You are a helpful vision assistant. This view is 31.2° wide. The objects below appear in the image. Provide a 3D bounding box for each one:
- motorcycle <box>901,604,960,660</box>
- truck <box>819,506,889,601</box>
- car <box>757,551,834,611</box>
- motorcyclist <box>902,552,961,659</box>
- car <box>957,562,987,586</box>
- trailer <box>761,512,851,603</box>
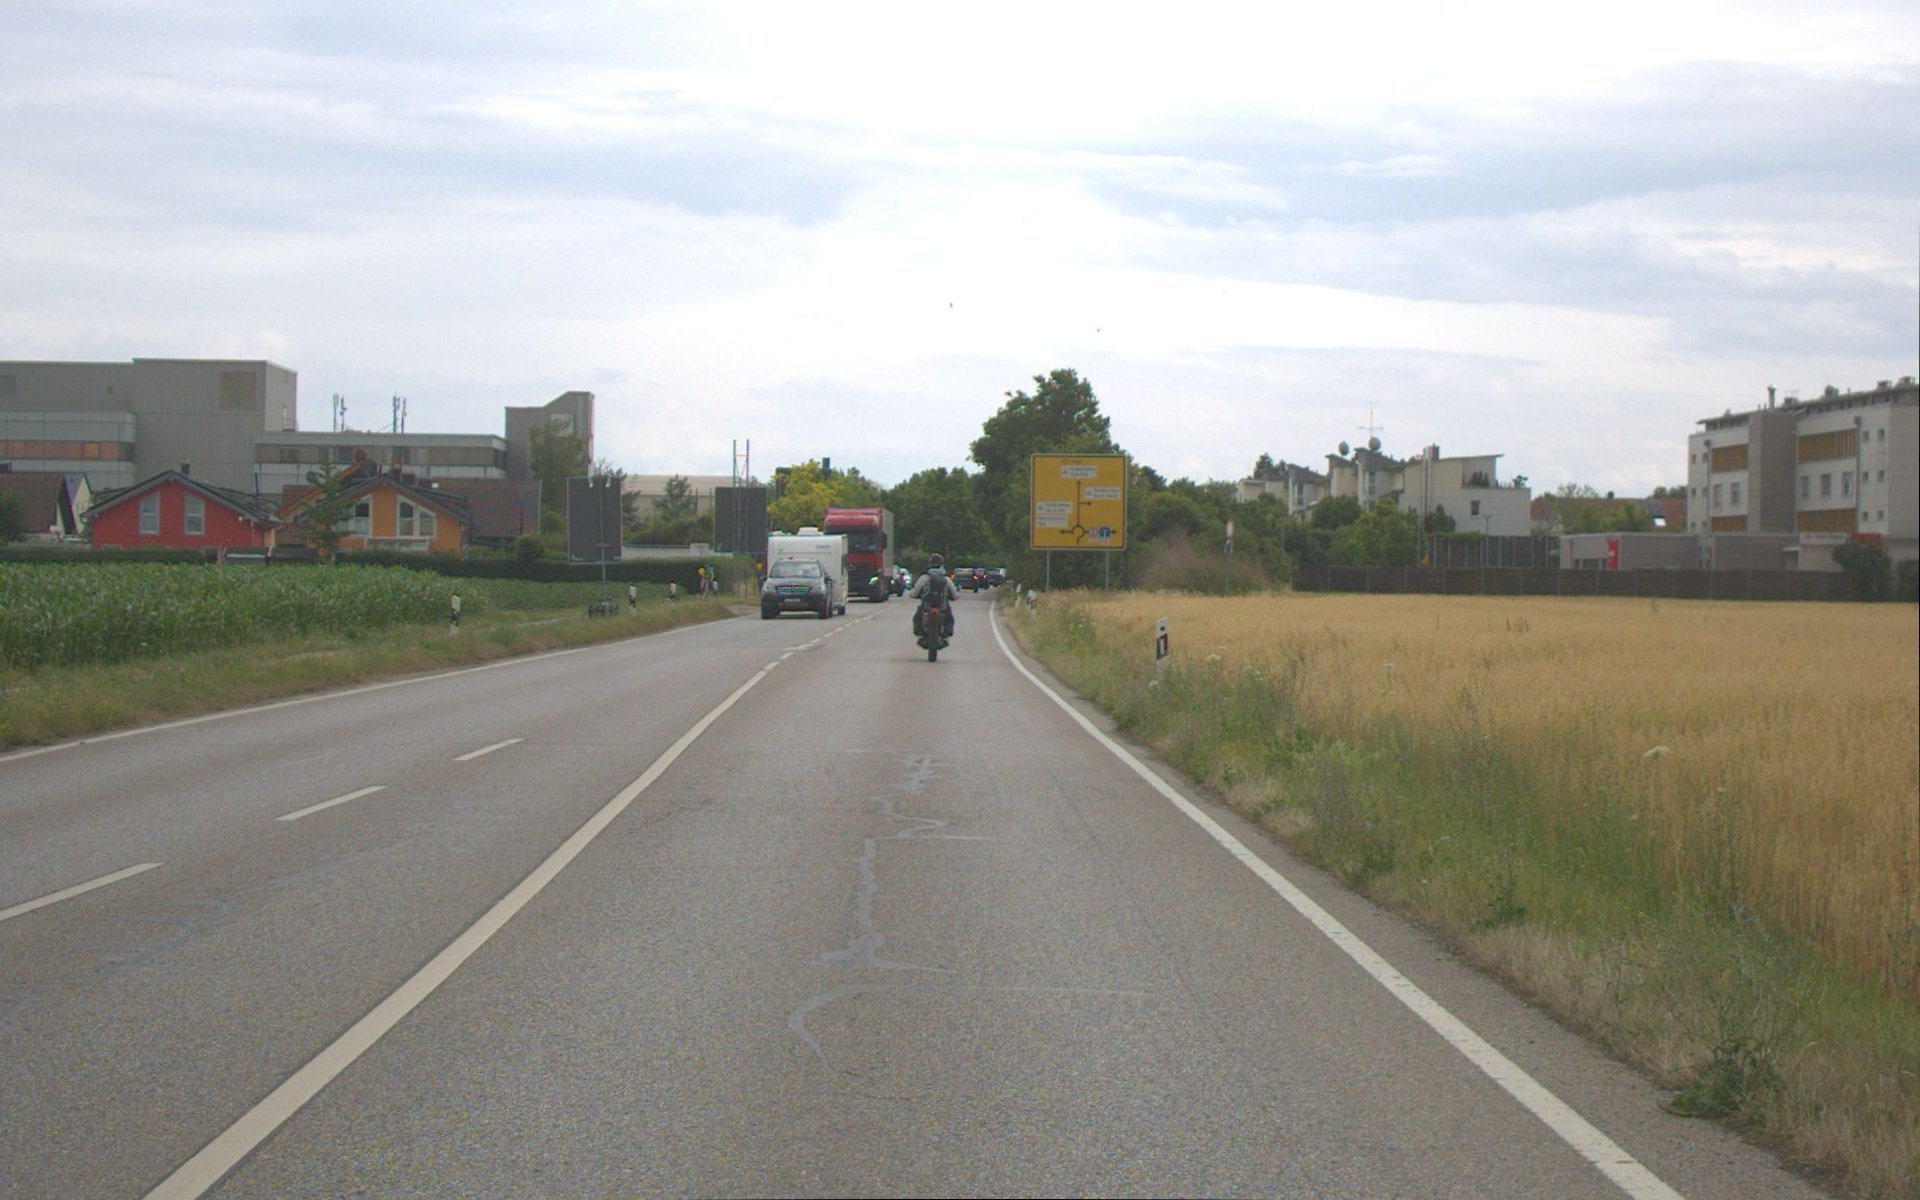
[{"bbox_3d":[-0.480,0.522,57.224,0.941,0.887,2.146,1,0,0],"label":"motorcycle"},{"bbox_3d":[-4.518,-1.982,147.616,2.729,3.974,6.816,0,0,1],"label":"truck"},{"bbox_3d":[-4.813,-0.563,101.109,1.993,1.693,4.676,1,1,0],"label":"car"},{"bbox_3d":[-0.470,0.084,57.215,0.941,1.744,1.200,1,0,0],"label":"motorcyclist"},{"bbox_3d":[0.750,-1.661,218.052,1.855,1.467,4.000,1,0,0],"label":"car"},{"bbox_3d":[-4.766,-1.317,107.233,2.324,2.720,7.843,1,1,1],"label":"trailer"}]
